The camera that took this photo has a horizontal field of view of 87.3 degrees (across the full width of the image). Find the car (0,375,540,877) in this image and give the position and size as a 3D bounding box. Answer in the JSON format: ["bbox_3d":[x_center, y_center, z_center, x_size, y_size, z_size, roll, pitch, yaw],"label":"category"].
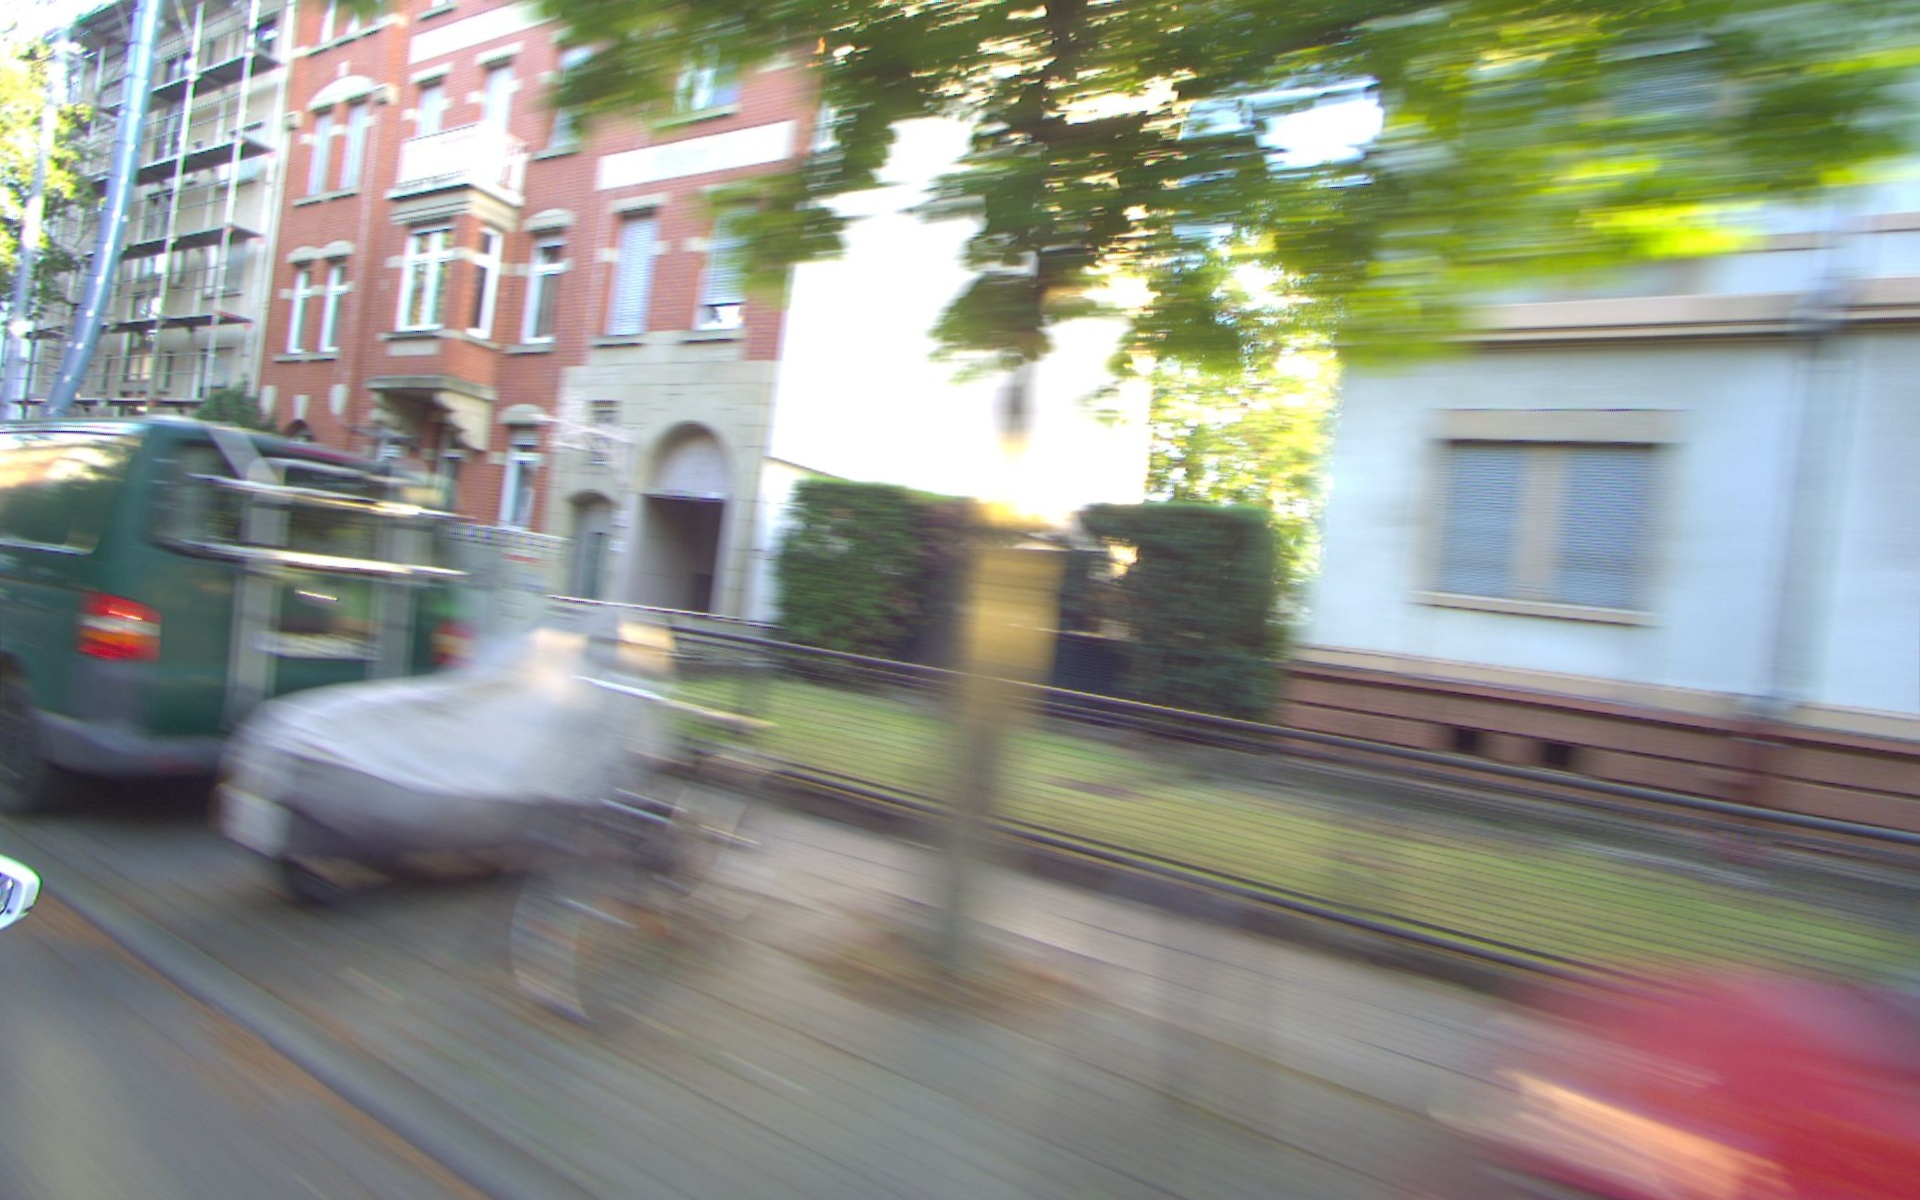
[{"bbox_3d":[-5.052,-0.108,6.200,4.748,2.086,1.956,8,2,30],"label":"car"}]

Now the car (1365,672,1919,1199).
[{"bbox_3d":[2.494,1.118,1.127,3.632,1.519,1.665,8,2,31],"label":"car"}]
